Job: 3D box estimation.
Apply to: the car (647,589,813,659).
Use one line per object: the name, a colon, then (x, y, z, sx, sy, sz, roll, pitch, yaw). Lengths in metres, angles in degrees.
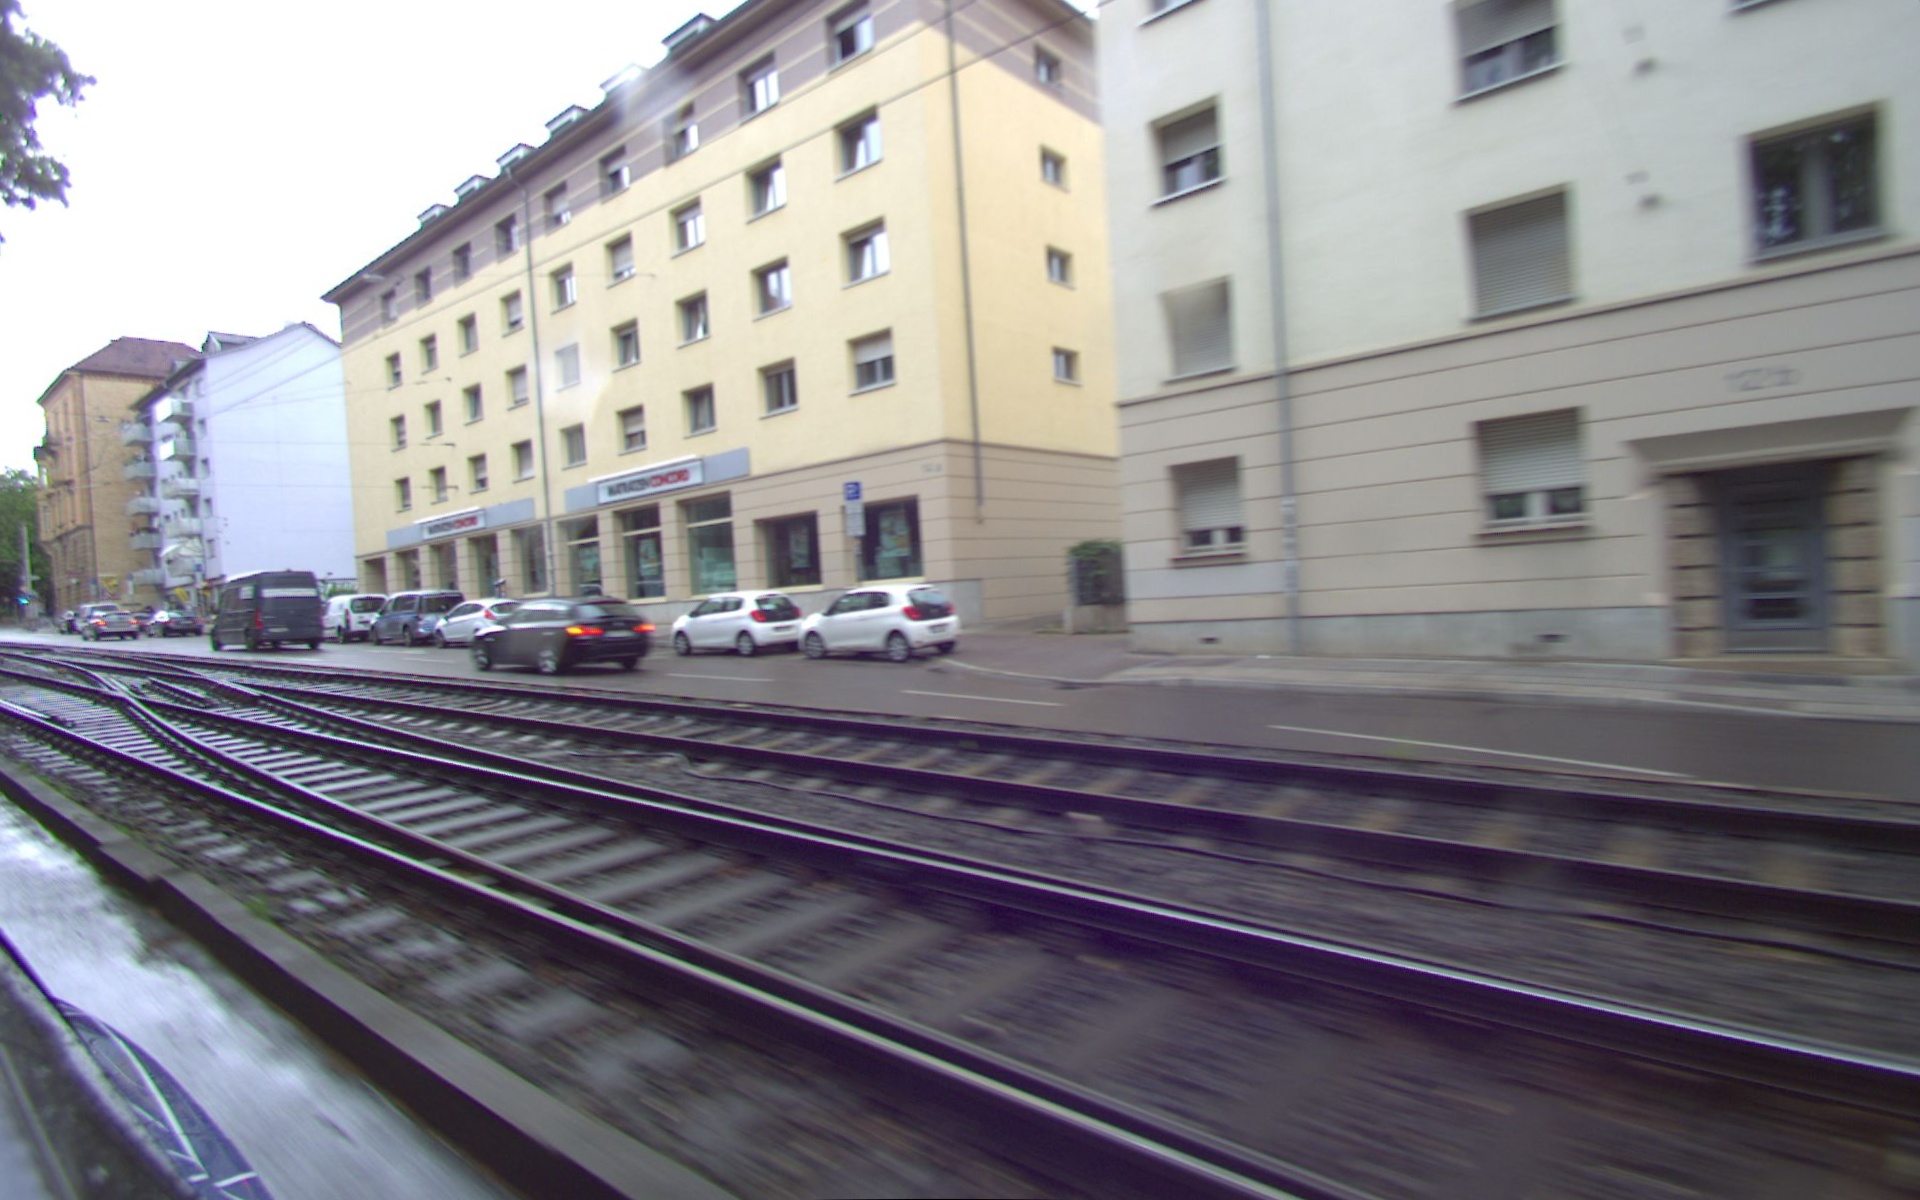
car: (-5.466, 0.557, 23.885, 3.931, 1.407, 1.688, -2, 3, 39)

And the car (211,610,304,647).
car: (-31.941, 1.259, 45.954, 4.980, 1.519, 1.836, -1, 2, 35)

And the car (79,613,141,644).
car: (-43.551, 1.446, 51.825, 4.278, 1.473, 1.694, -1, 1, 41)

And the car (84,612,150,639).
car: (-54.014, 1.585, 64.916, 1.755, 1.444, 3.994, -3, 2, -16)

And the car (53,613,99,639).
car: (-62.137, 1.794, 71.140, 4.359, 1.663, 1.716, -1, 2, 40)

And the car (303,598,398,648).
car: (-23.485, 0.850, 38.959, 4.458, 1.729, 1.848, -1, 2, 42)

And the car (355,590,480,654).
car: (-18.786, 0.694, 34.927, 5.457, 1.919, 1.973, 0, 4, 42)

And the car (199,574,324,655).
car: (-23.764, 0.430, 34.328, 5.994, 2.470, 1.973, 0, 2, 41)

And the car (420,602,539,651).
car: (-15.094, 0.837, 31.753, 4.042, 1.450, 1.676, -1, -3, 37)

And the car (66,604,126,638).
car: (-57.849, 1.419, 67.732, 5.297, 2.023, 2.050, -2, 4, 40)

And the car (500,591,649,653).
car: (-10.736, 0.597, 28.048, 4.578, 1.510, 1.796, -1, 3, 40)

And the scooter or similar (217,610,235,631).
scooter or similar: (-46.428, 1.294, 64.016, 0.614, 1.209, 1.900, -6, 3, -30)

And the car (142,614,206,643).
car: (-42.213, 1.508, 54.320, 4.617, 1.406, 1.663, -1, 2, 39)

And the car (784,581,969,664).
car: (-1.748, 0.430, 20.788, 3.536, 1.460, 1.693, -1, 4, 38)

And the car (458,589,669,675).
car: (-8.088, 0.668, 20.401, 4.850, 1.497, 1.861, -3, 0, 41)

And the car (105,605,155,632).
car: (-49.717, 1.086, 60.593, 4.072, 1.462, 1.636, -1, 2, 41)
